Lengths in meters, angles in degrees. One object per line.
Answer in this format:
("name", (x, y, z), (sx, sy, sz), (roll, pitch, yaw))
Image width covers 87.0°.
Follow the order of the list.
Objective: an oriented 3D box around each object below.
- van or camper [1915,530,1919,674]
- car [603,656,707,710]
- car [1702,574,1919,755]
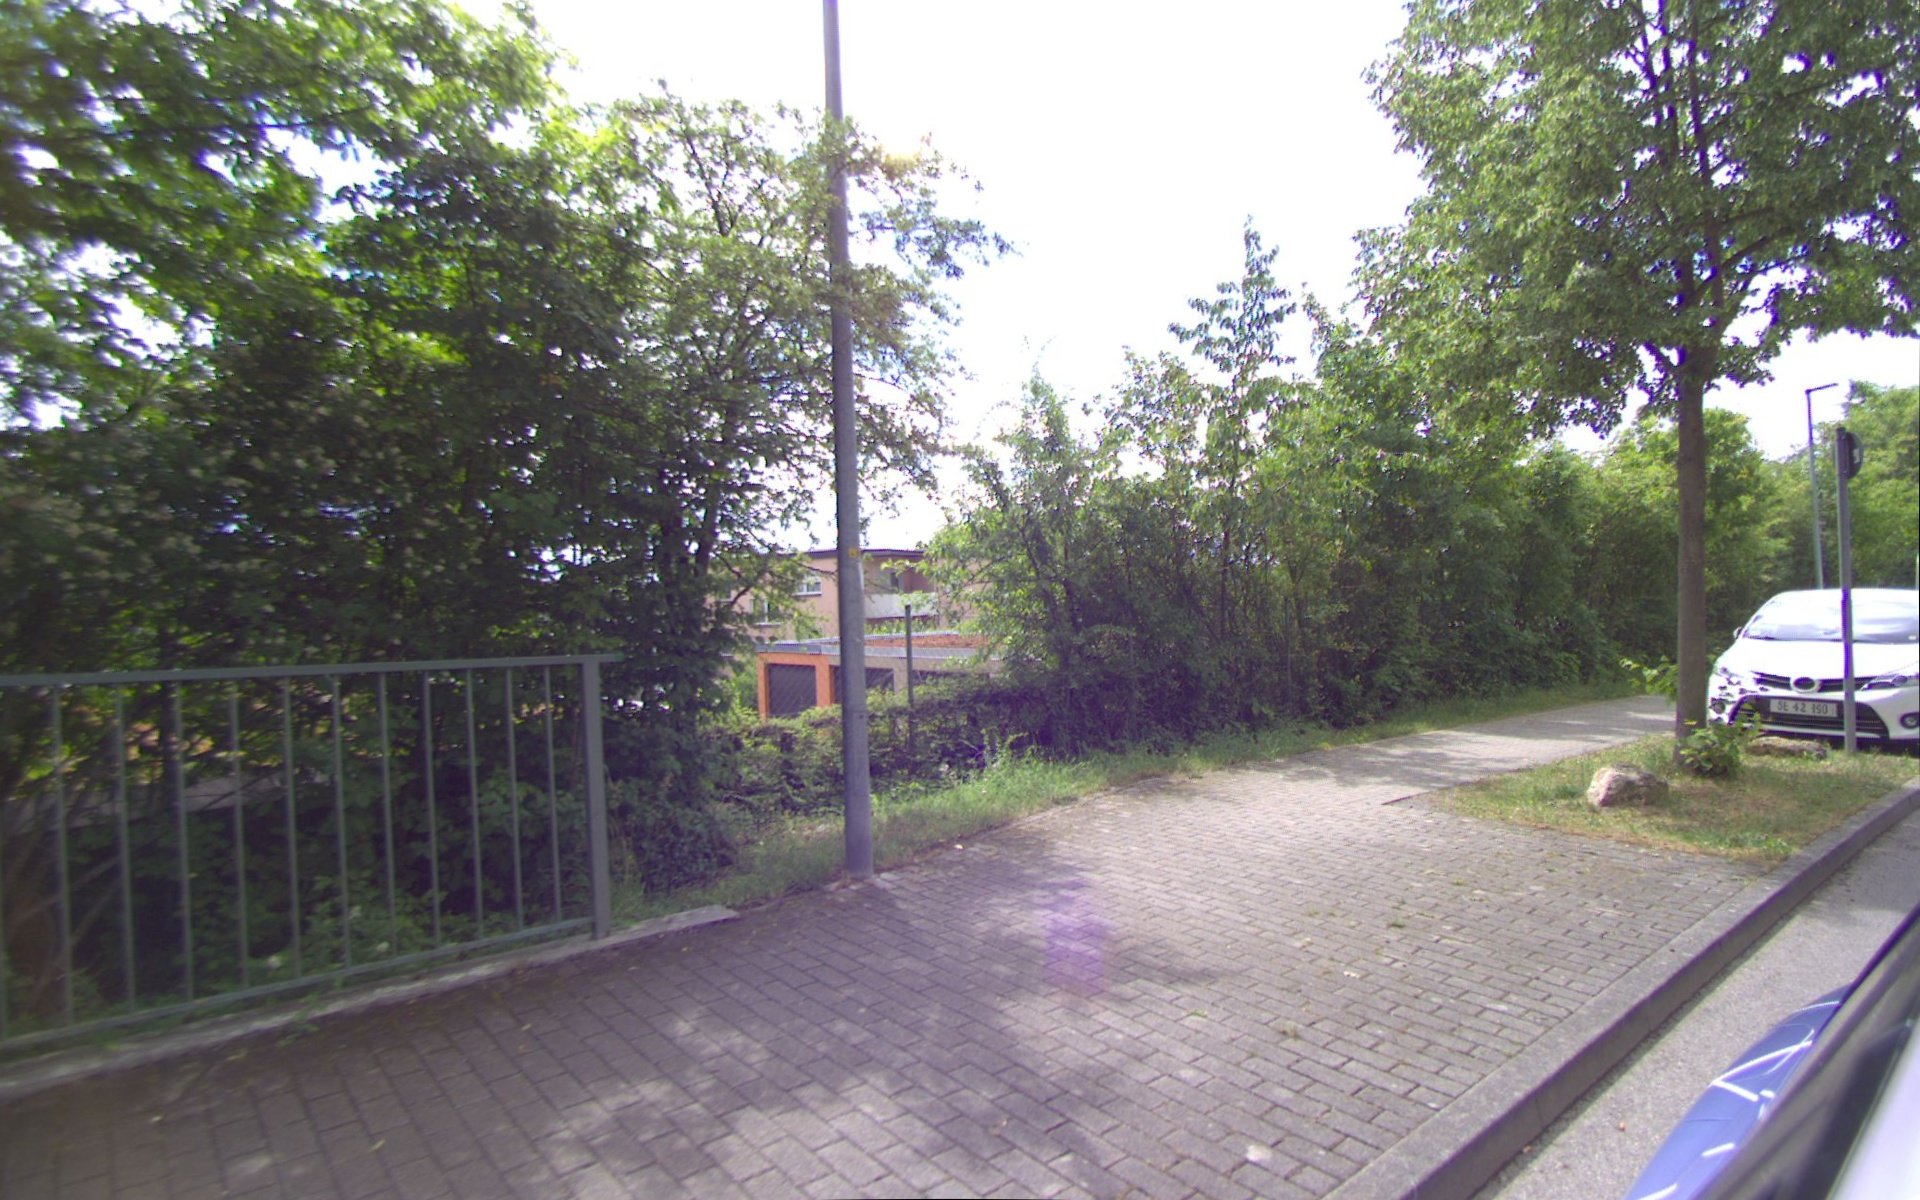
("van or camper", (19.969, 0.034, 18.884), (4.981, 2.586, 2.361), (0, 1, -37))
("car", (-11.566, 3.088, 38.277), (4.030, 1.795, 1.970), (-2, -2, 42))
("car", (9.805, 0.572, 10.980), (4.293, 1.620, 1.809), (0, 0, -39))
